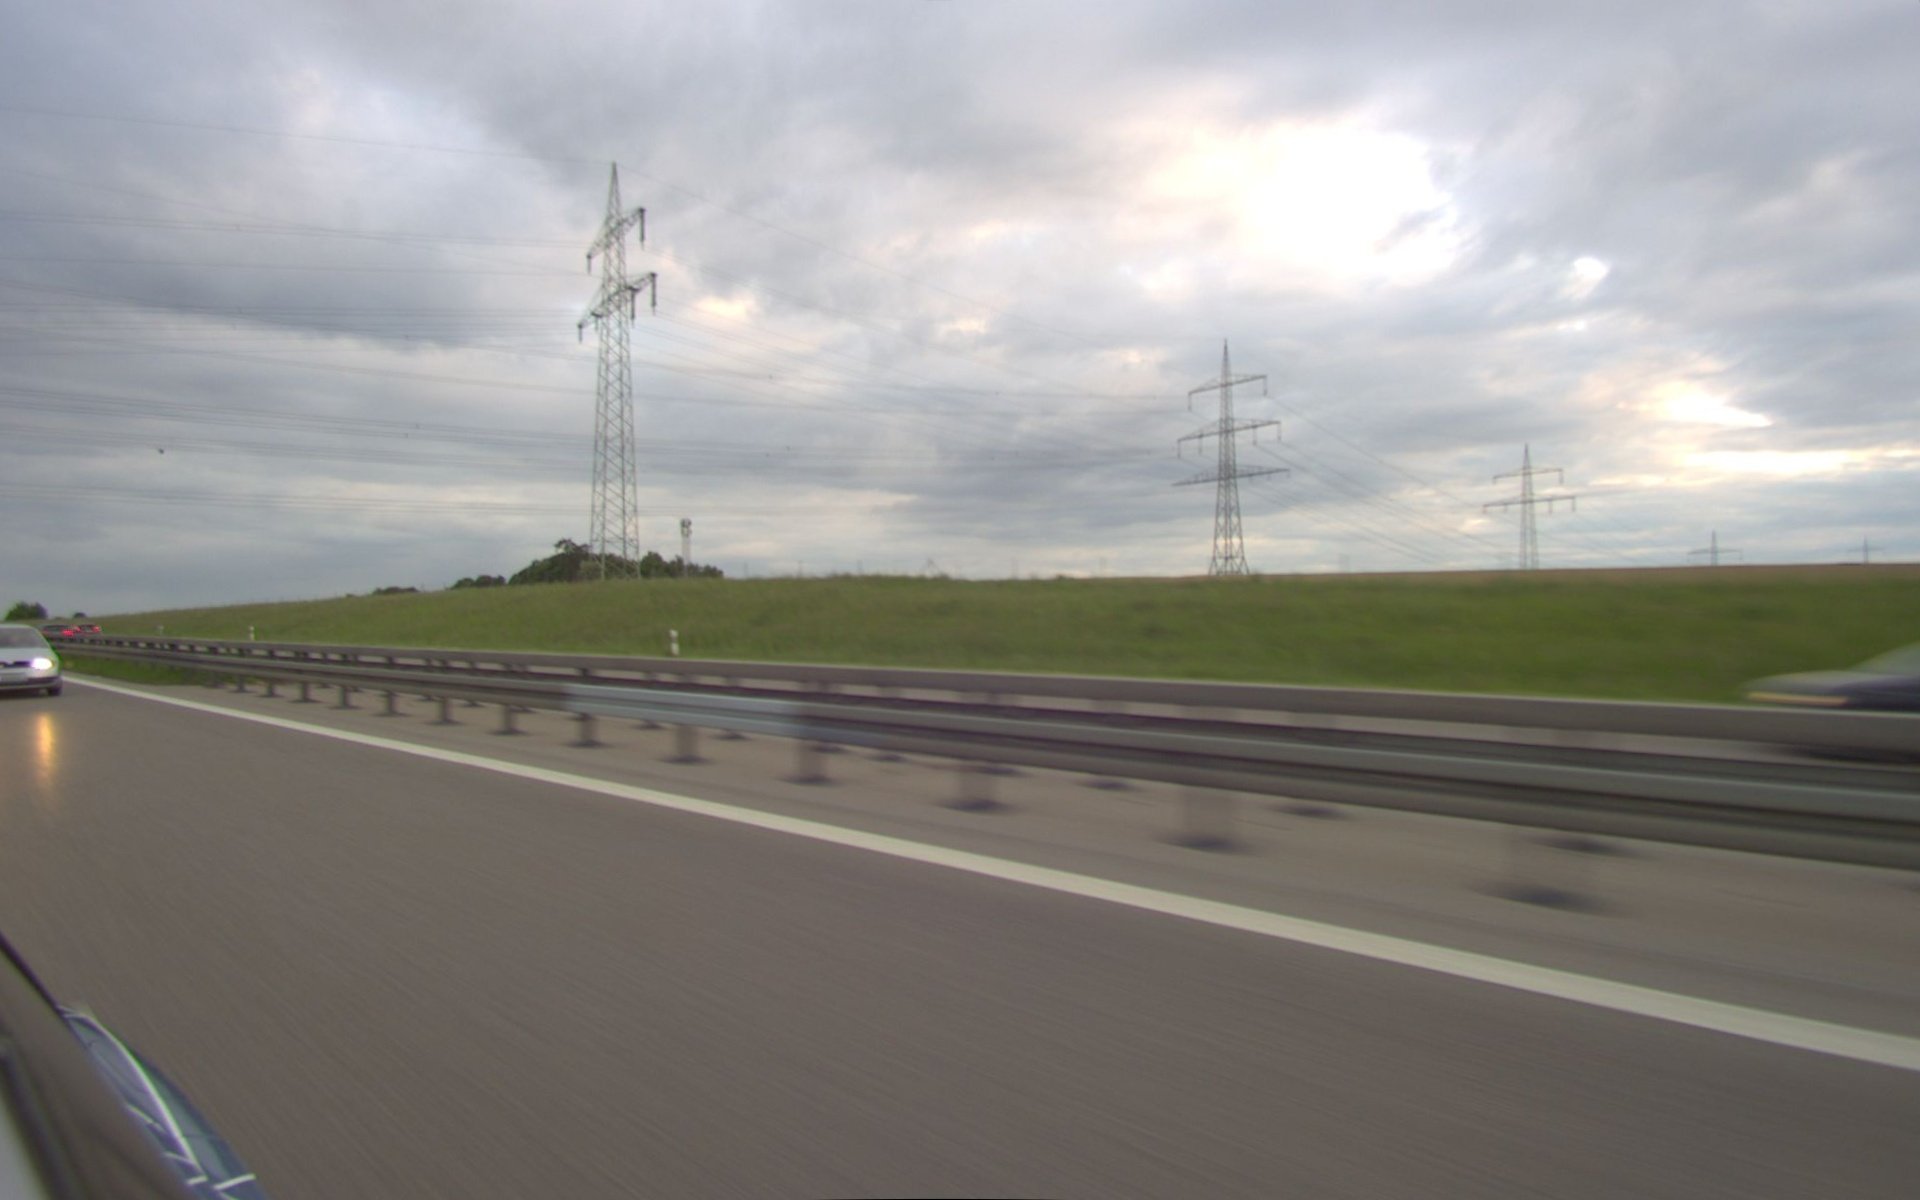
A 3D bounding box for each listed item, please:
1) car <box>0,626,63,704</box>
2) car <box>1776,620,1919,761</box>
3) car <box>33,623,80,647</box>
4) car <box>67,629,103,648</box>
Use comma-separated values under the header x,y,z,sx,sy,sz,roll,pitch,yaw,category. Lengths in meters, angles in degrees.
x,y,z,sx,sy,sz,roll,pitch,yaw,category
-19.087,1.209,19.807,4.597,1.400,1.572,-1,-3,39,car
11.112,0.934,10.557,4.008,1.370,1.657,-2,1,40,car
-58.790,2.291,65.833,5.119,1.467,1.720,-2,0,42,car
-71.066,3.092,82.153,4.431,1.444,1.512,-2,0,40,car
